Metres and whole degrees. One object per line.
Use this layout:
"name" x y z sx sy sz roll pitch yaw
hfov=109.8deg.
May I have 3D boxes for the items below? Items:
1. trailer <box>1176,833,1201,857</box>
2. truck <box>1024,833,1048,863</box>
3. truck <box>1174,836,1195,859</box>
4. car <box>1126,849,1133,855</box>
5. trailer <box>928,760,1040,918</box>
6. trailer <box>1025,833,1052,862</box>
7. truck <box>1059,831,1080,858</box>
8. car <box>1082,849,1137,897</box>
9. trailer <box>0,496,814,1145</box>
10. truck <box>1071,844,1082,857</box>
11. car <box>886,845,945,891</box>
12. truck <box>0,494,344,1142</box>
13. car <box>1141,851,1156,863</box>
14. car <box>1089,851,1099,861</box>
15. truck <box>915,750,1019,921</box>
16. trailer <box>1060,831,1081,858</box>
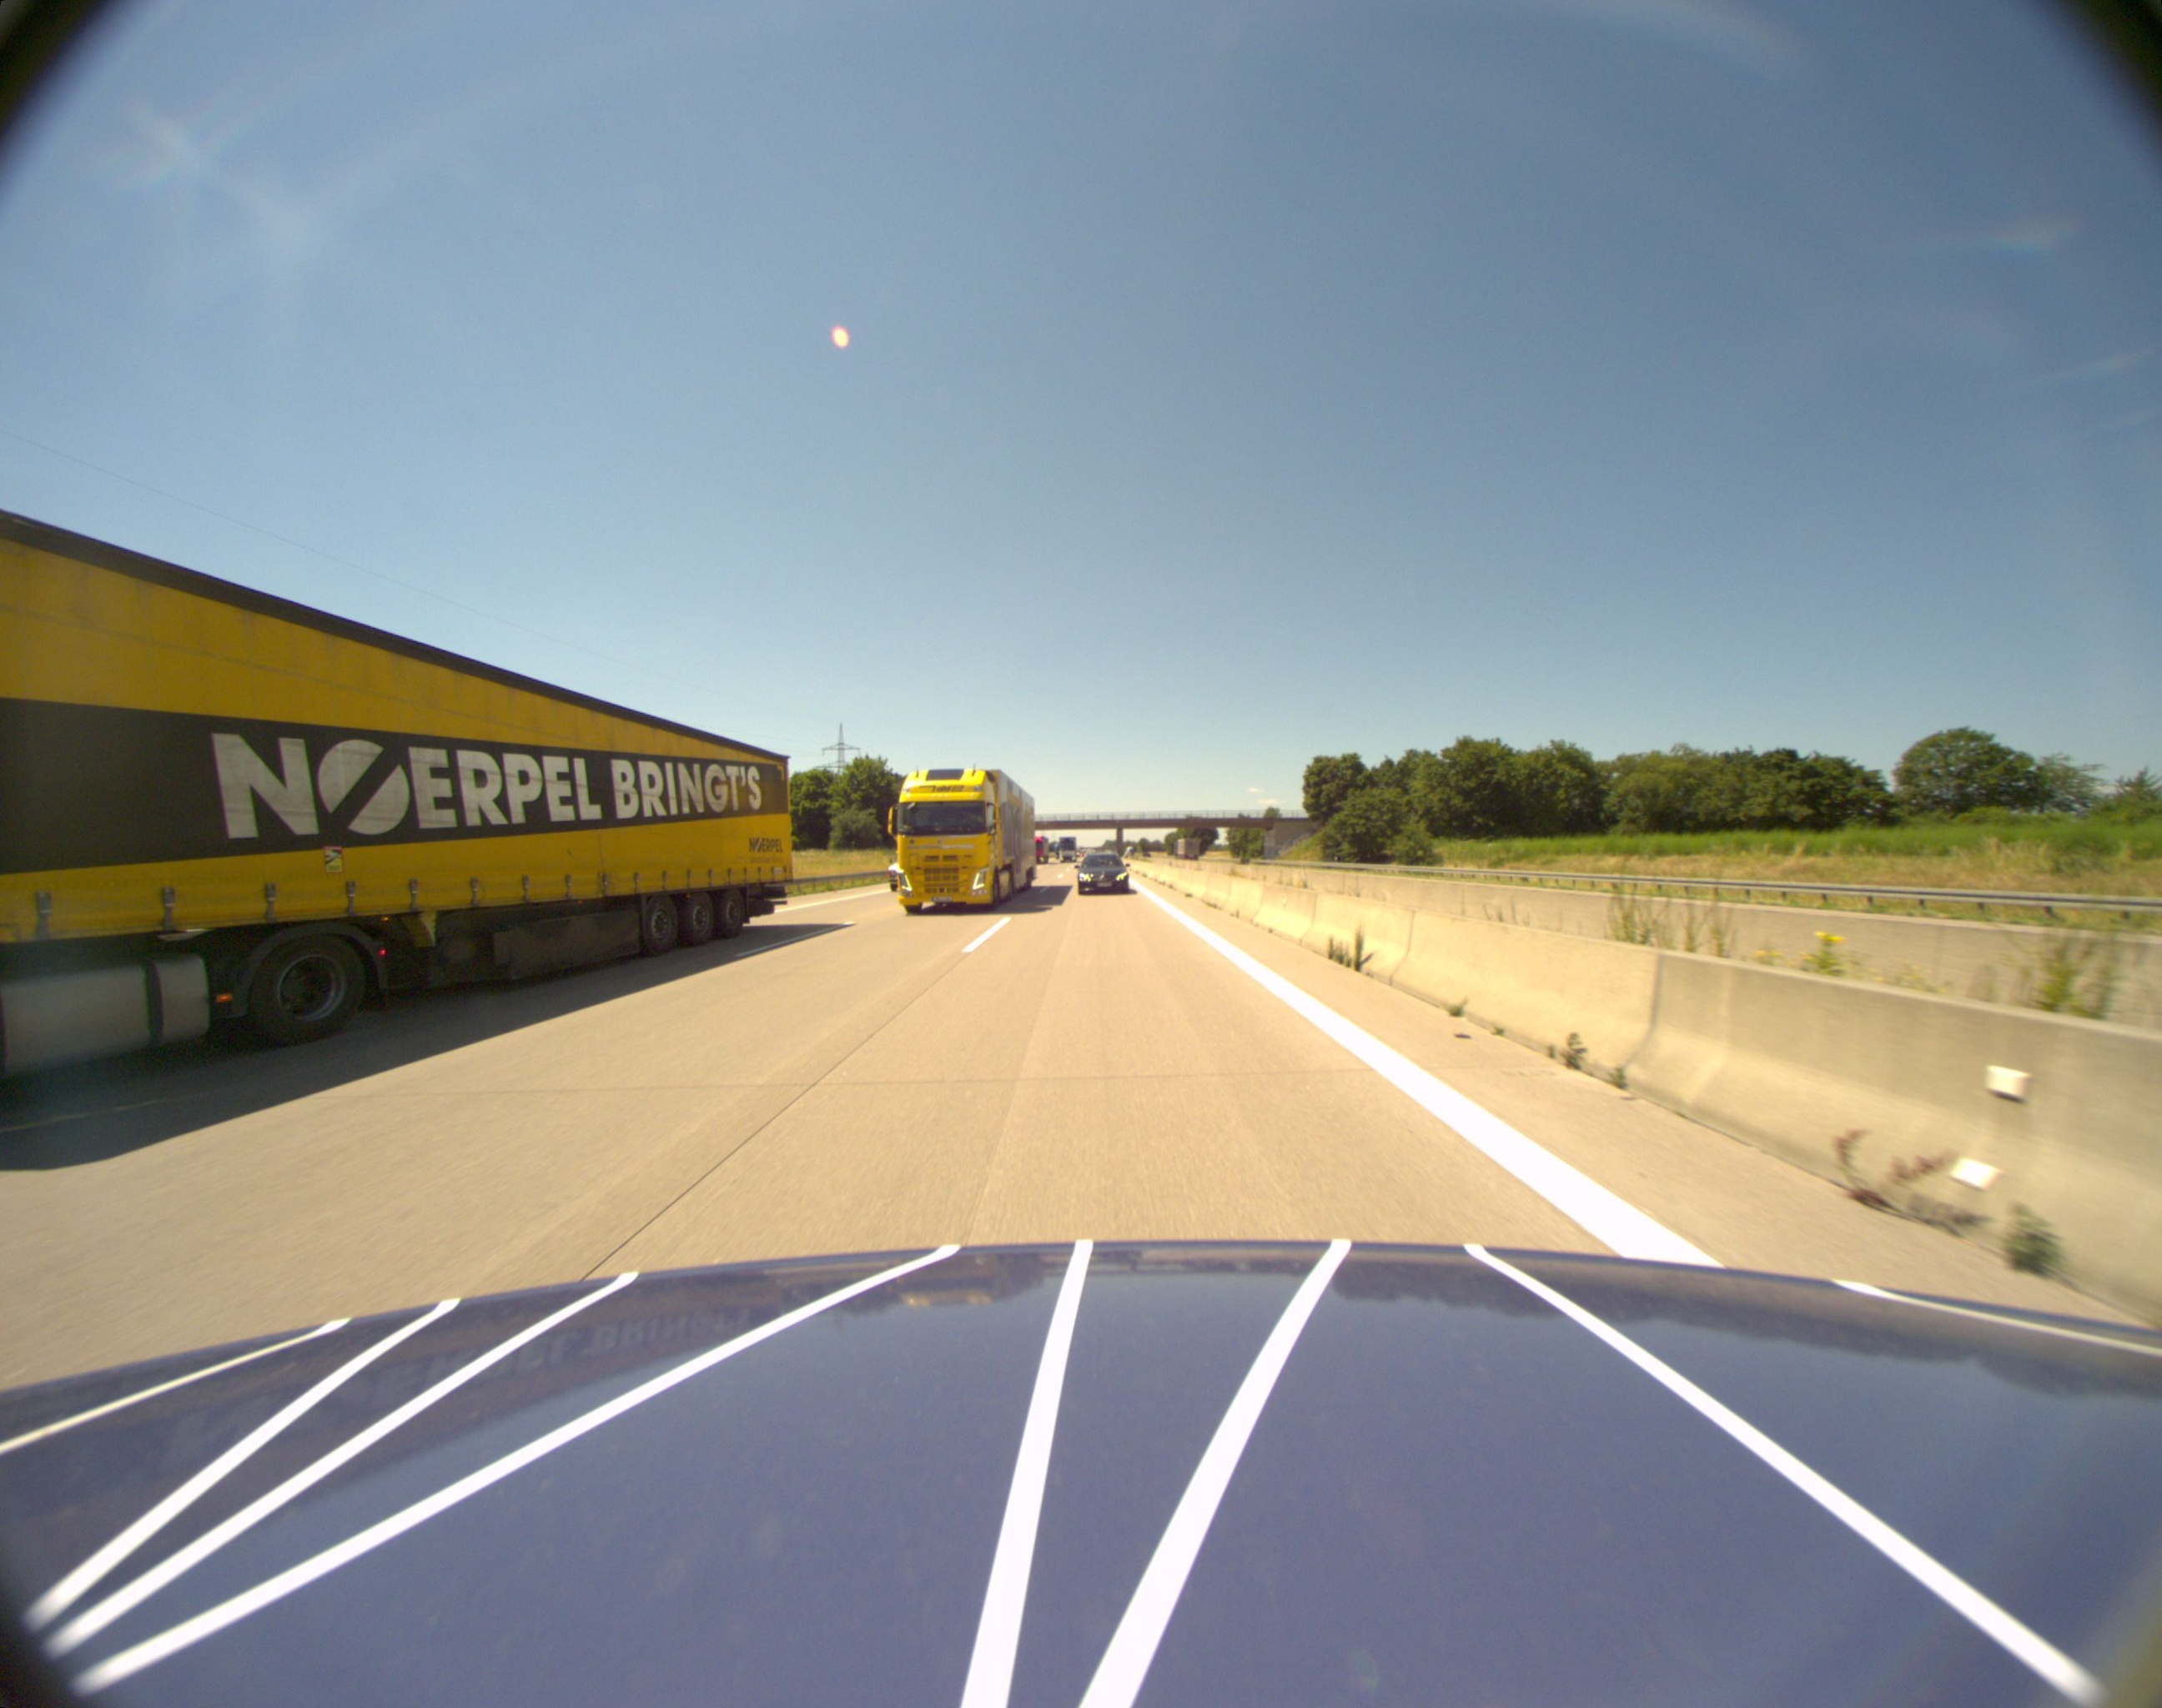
"trailer" 19.190 -1.530 136.486 2.989 4.066 11.604 1 1 1
"truck" -6.411 -0.916 109.264 2.960 4.122 6.151 -2 1 0
"truck" 19.253 -1.170 141.781 2.989 4.066 6.465 1 1 1
"car" 17.196 -0.668 268.912 2.258 1.947 5.684 0 1 0
"trailer" -3.054 -0.479 28.342 1.998 4.230 15.197 -2 1 0
"trailer" -6.332 -1.028 115.853 2.959 4.122 13.809 -2 1 1
"truck" -1.684 -1.487 118.768 2.959 4.122 6.151 -2 1 1
"car" 1.005 0.639 28.195 1.848 1.576 3.939 -2 1 1
"trailer" -7.847 -0.265 11.607 1.998 4.168 14.744 -2 1 1
"truck" -1.331 -1.144 240.864 2.959 4.122 10.016 -2 1 1
"car" -7.723 0.612 35.740 1.788 2.002 3.819 -2 1 1
"truck" -7.945 -0.211 4.157 1.998 4.169 5.705 -2 1 1
"car" 11.551 0.443 129.970 1.998 1.851 5.466 -2 1 1
"car" 2.692 0.402 154.991 1.998 1.781 4.300 -2 1 1
"truck" -3.086 -0.487 21.685 1.998 4.230 5.194 -2 1 0
"trailer" -1.619 -1.479 124.037 2.959 4.122 12.024 -2 1 1
